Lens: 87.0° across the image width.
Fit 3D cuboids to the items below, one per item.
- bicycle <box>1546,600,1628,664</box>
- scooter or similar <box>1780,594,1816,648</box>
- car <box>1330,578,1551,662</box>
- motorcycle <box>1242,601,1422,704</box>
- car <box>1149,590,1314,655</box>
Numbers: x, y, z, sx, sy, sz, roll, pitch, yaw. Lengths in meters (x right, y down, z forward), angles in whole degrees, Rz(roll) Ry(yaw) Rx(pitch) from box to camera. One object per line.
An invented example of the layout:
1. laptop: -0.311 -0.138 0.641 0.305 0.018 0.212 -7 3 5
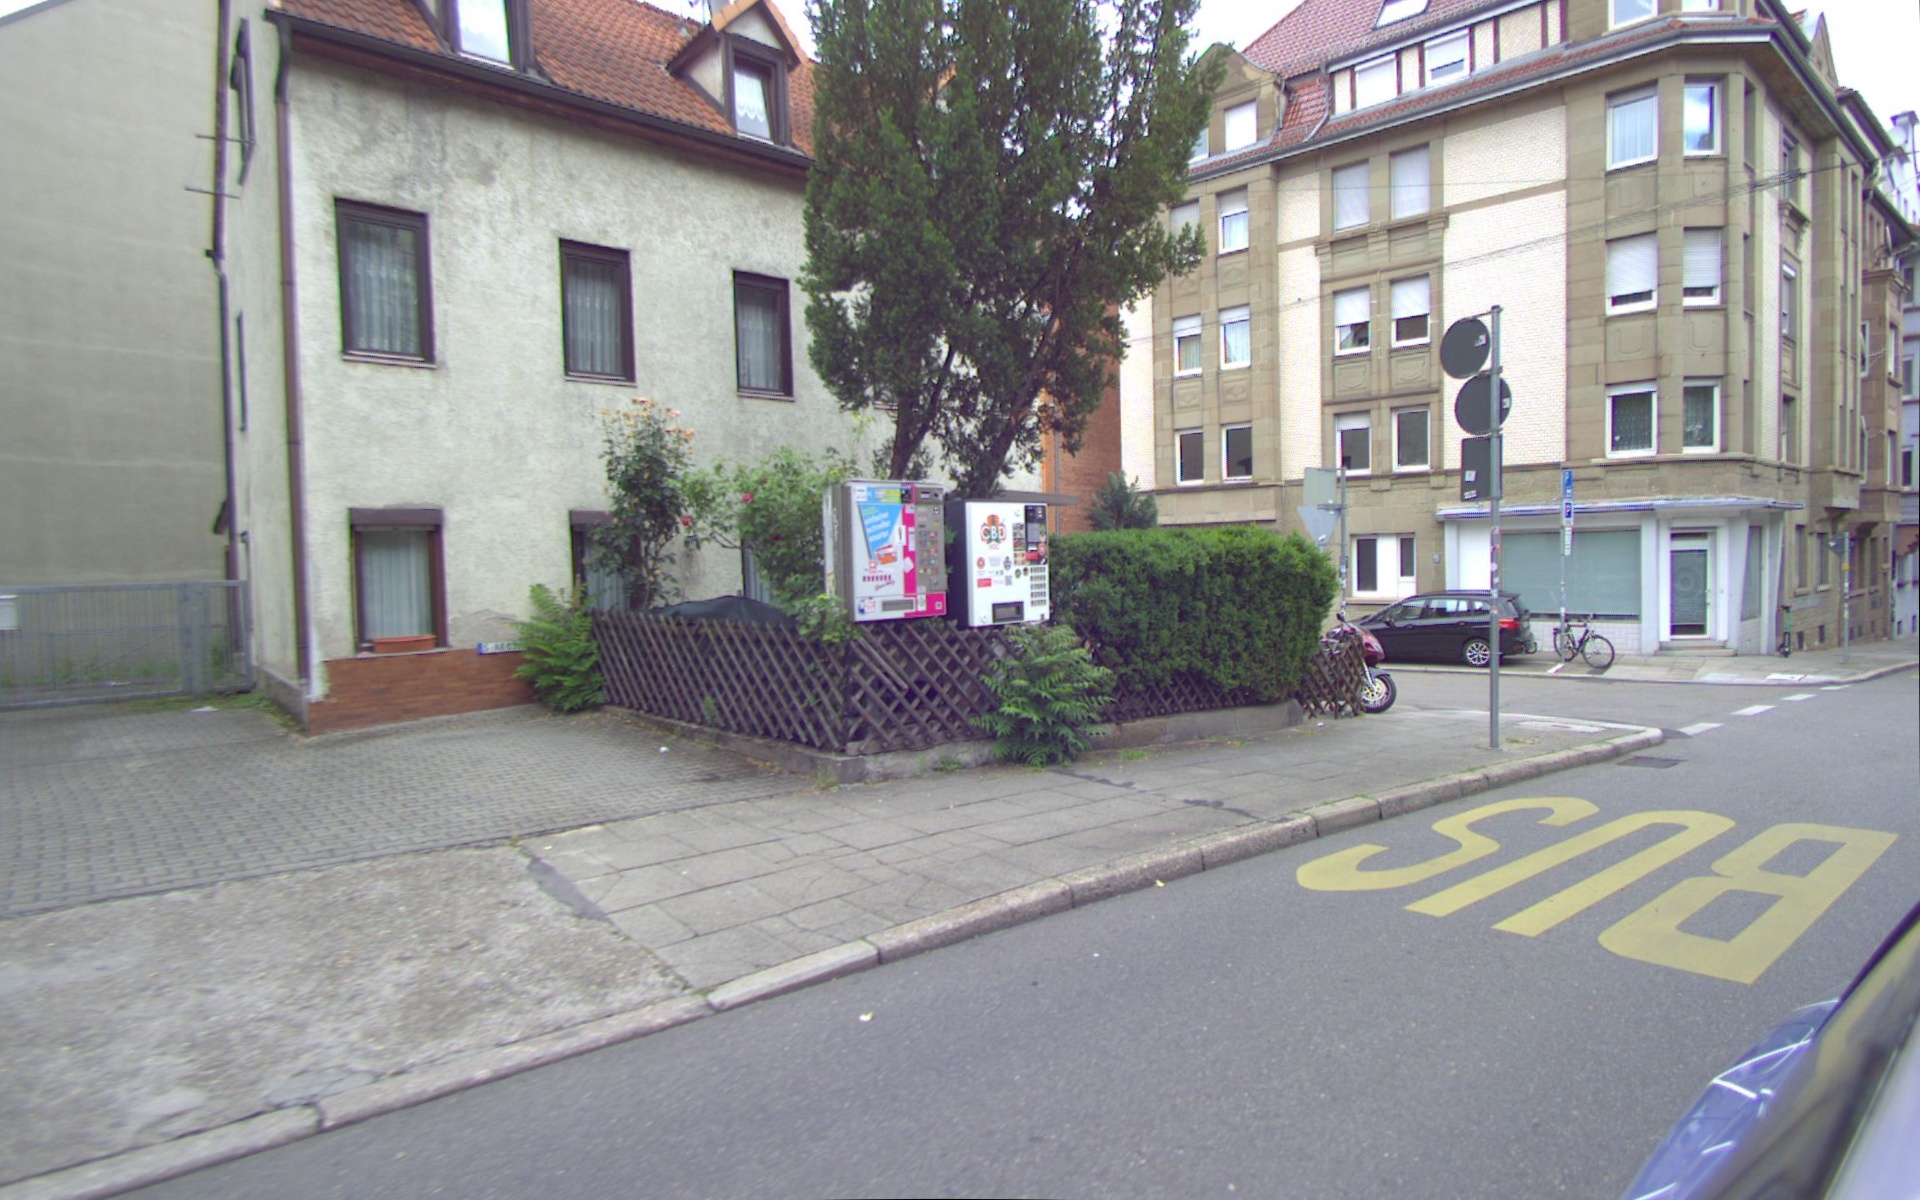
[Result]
1. bicycle: 13.579 0.661 21.985 0.630 1.153 2.074 -3 4 6
2. scooter or similar: 19.845 0.503 23.965 1.125 1.225 0.411 4 0 -40
3. car: 11.131 0.432 23.605 4.355 1.665 1.763 -1 4 39
4. motorcycle: 4.987 0.667 13.676 0.993 1.284 2.057 0 -1 -44
5. car: 7.156 0.559 26.871 3.855 1.480 1.665 -1 4 40
